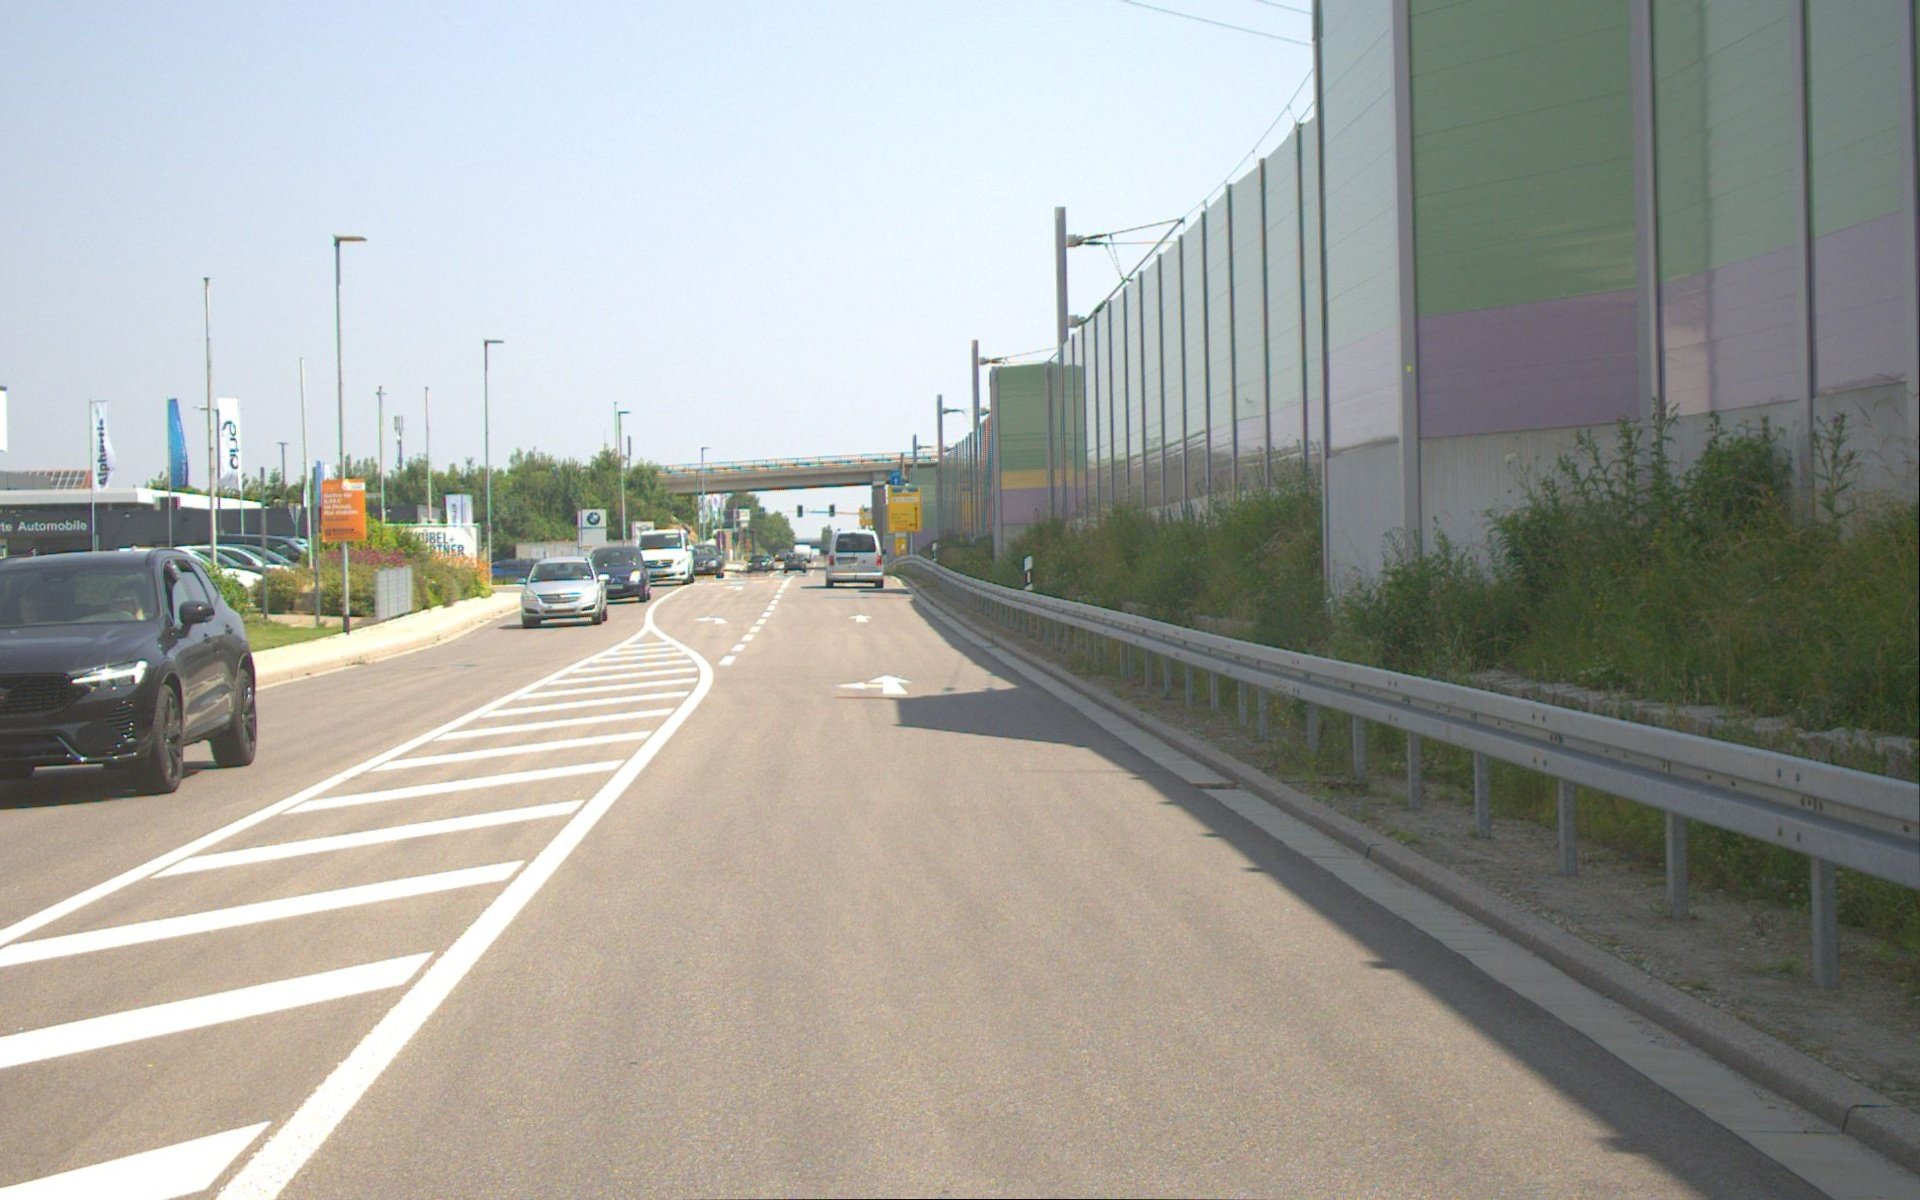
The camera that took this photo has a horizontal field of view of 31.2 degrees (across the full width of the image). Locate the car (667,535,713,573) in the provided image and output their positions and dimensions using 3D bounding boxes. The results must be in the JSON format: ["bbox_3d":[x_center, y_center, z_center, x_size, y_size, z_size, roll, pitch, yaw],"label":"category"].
[{"bbox_3d":[-10.977,-1.876,139.852,1.670,1.418,4.001,-3,1,-3],"label":"car"}]

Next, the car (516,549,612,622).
[{"bbox_3d":[-8.625,-0.338,75.203,1.764,1.461,4.260,-3,1,-3],"label":"car"}]

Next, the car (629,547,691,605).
[{"bbox_3d":[-10.234,-0.812,117.152,1.993,1.867,5.170,-2,1,-5],"label":"car"}]

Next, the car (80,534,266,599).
[{"bbox_3d":[-19.422,-0.835,84.954,4.223,1.451,1.764,2,1,-4],"label":"car"}]

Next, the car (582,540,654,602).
[{"bbox_3d":[-9.441,-0.818,95.140,1.668,1.594,3.973,-3,1,-2],"label":"car"}]

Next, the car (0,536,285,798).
[{"bbox_3d":[-6.126,0.416,24.177,1.881,1.611,4.523,-3,1,-1],"label":"car"}]

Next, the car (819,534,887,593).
[{"bbox_3d":[-3.276,-1.125,106.136,1.993,1.751,4.000,-1,1,0],"label":"car"}]
